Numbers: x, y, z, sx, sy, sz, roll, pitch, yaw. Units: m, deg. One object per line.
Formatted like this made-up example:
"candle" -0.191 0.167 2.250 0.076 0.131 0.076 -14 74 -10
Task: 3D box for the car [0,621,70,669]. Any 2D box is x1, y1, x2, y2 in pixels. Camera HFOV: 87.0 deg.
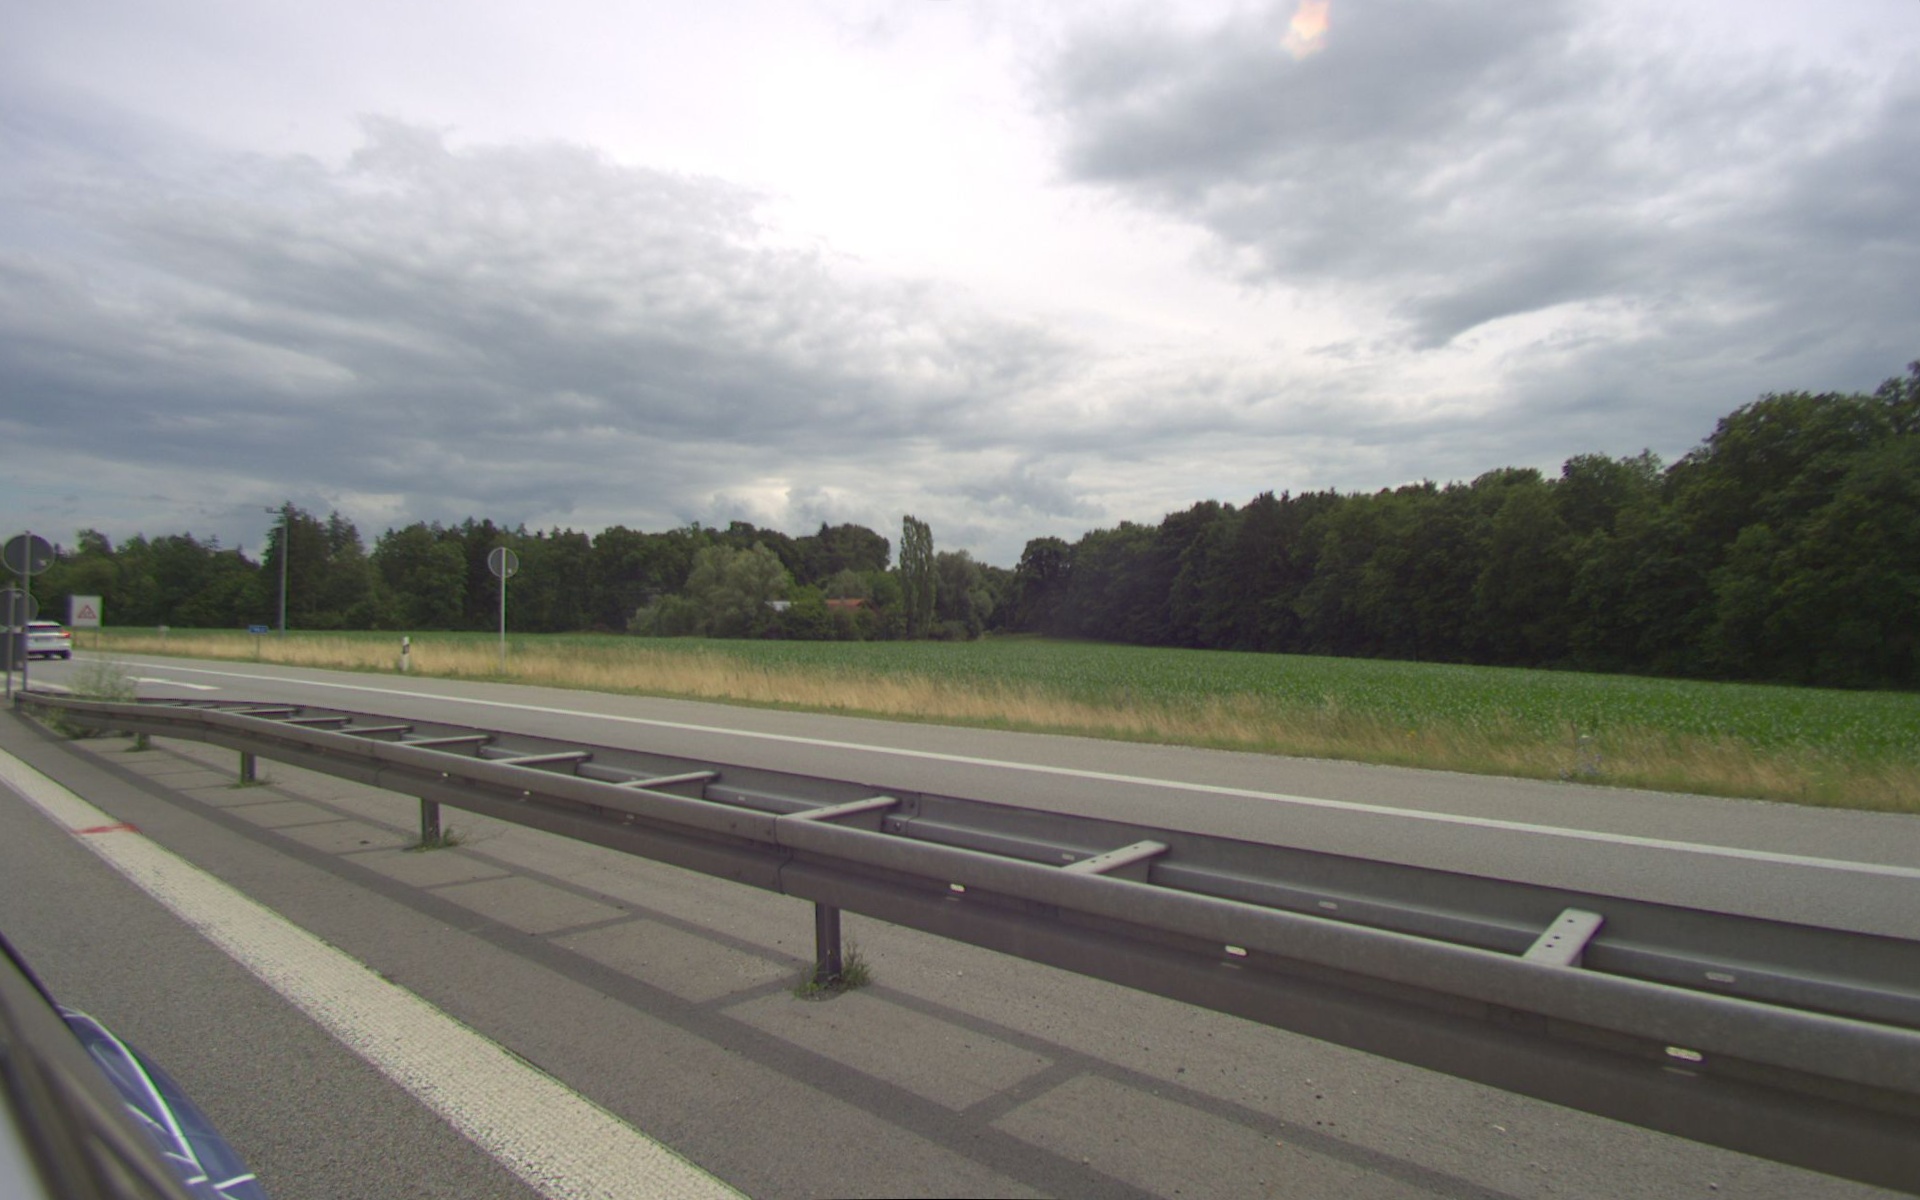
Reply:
"car" -35.212 1.641 38.057 4.595 1.644 1.800 -1 0 37
